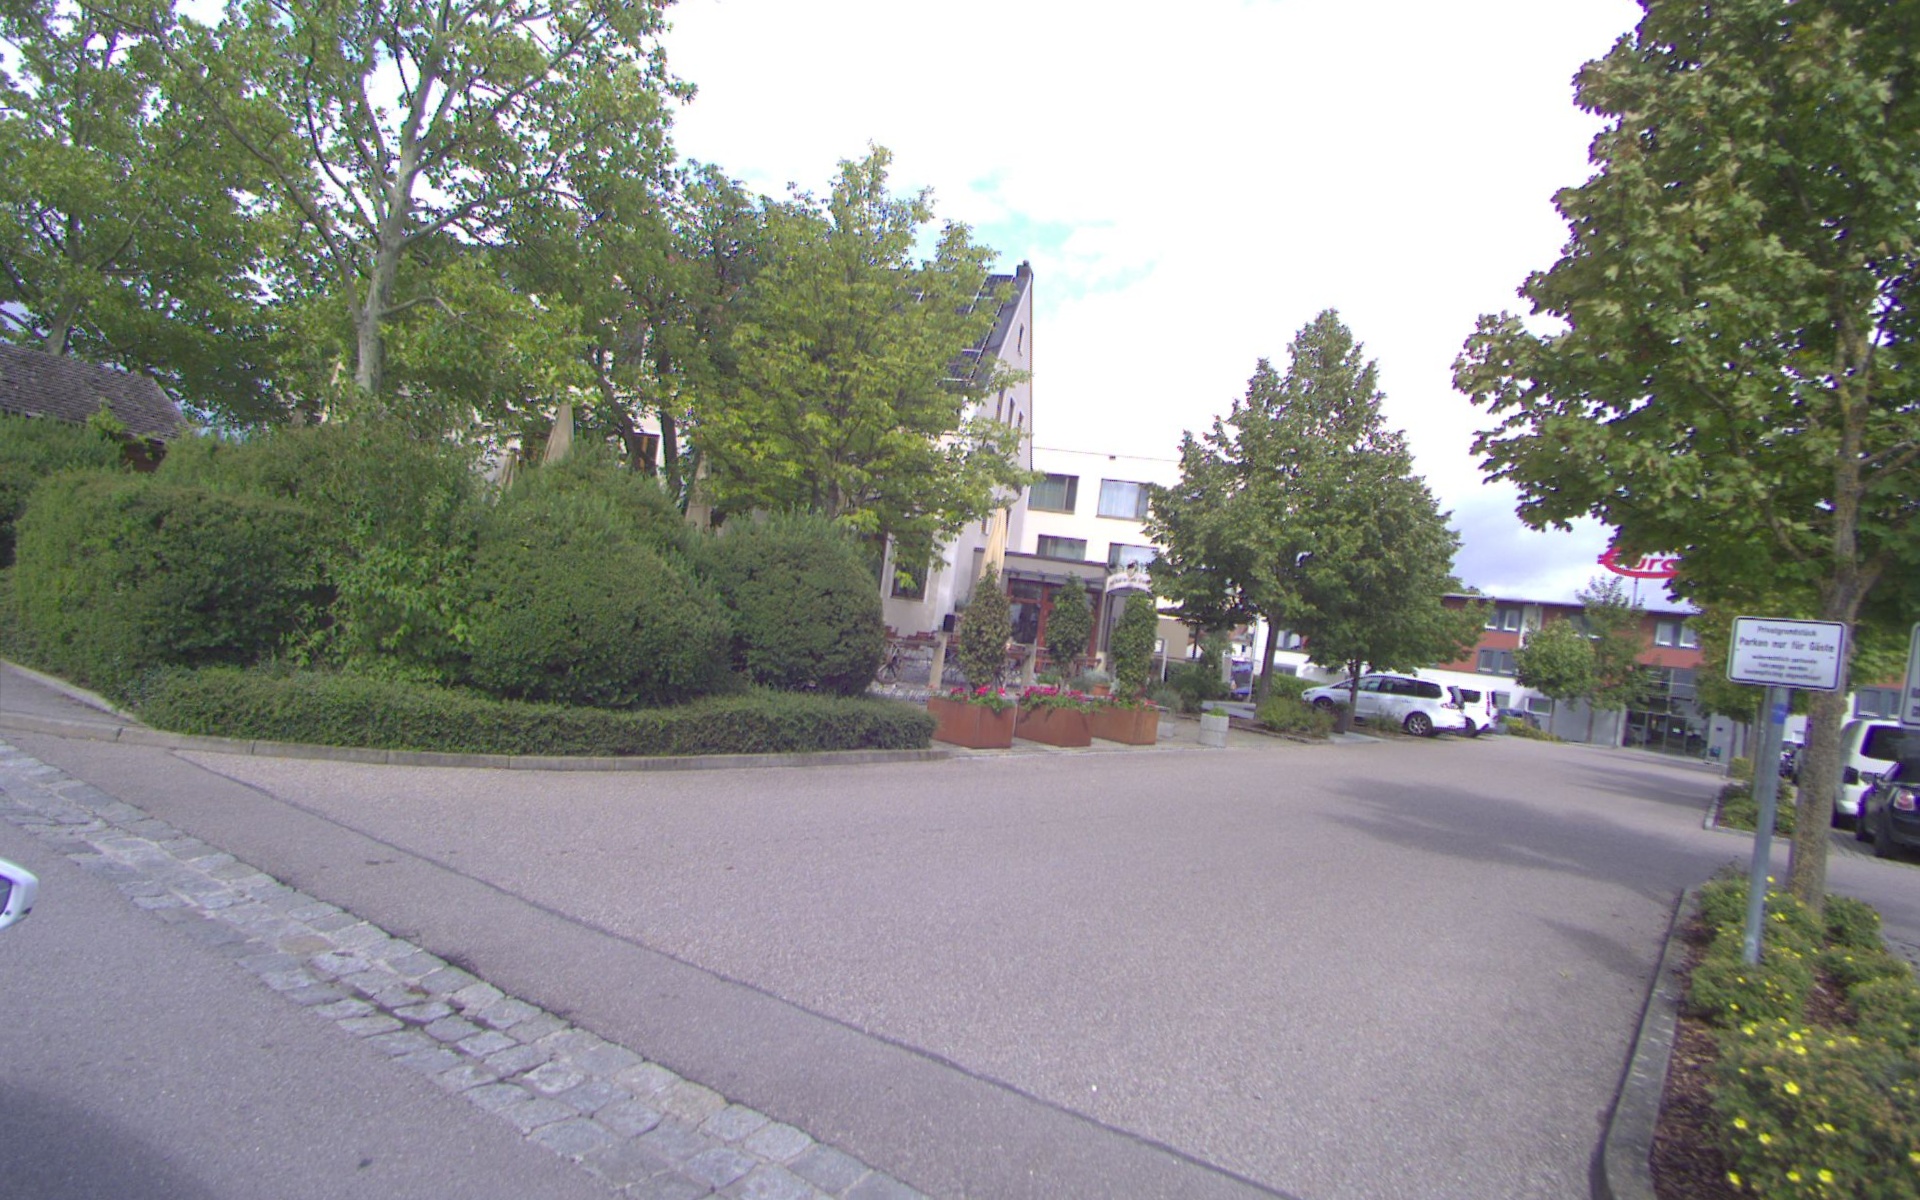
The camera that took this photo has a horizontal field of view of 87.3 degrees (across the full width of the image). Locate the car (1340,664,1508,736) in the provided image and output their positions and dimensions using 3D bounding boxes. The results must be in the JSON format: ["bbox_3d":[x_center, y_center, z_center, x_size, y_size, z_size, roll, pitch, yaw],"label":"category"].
[{"bbox_3d":[16.305,3.511,35.513,5.002,1.731,1.593,7,-2,38],"label":"car"}]

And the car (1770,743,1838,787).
[{"bbox_3d":[35.854,6.969,42.814,1.648,1.445,3.993,7,-2,34],"label":"car"}]

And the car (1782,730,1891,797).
[{"bbox_3d":[25.773,4.764,29.704,1.795,1.517,3.839,7,-2,34],"label":"car"}]

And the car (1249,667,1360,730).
[{"bbox_3d":[14.689,4.183,42.960,3.934,2.037,1.997,7,-2,32],"label":"car"}]

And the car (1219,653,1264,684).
[{"bbox_3d":[20.444,4.986,73.019,1.689,1.850,3.601,7,-2,39],"label":"car"}]

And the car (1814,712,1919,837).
[{"bbox_3d":[16.534,3.091,17.816,1.741,1.843,4.354,7,-2,38],"label":"car"}]

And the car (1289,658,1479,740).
[{"bbox_3d":[13.077,3.034,31.223,5.002,1.731,1.745,7,-2,38],"label":"car"}]

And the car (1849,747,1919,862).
[{"bbox_3d":[13.478,2.844,13.765,1.605,1.366,3.363,7,-2,38],"label":"car"}]

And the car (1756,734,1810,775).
[{"bbox_3d":[43.325,8.089,53.051,1.648,1.802,3.993,7,-2,34],"label":"car"}]
